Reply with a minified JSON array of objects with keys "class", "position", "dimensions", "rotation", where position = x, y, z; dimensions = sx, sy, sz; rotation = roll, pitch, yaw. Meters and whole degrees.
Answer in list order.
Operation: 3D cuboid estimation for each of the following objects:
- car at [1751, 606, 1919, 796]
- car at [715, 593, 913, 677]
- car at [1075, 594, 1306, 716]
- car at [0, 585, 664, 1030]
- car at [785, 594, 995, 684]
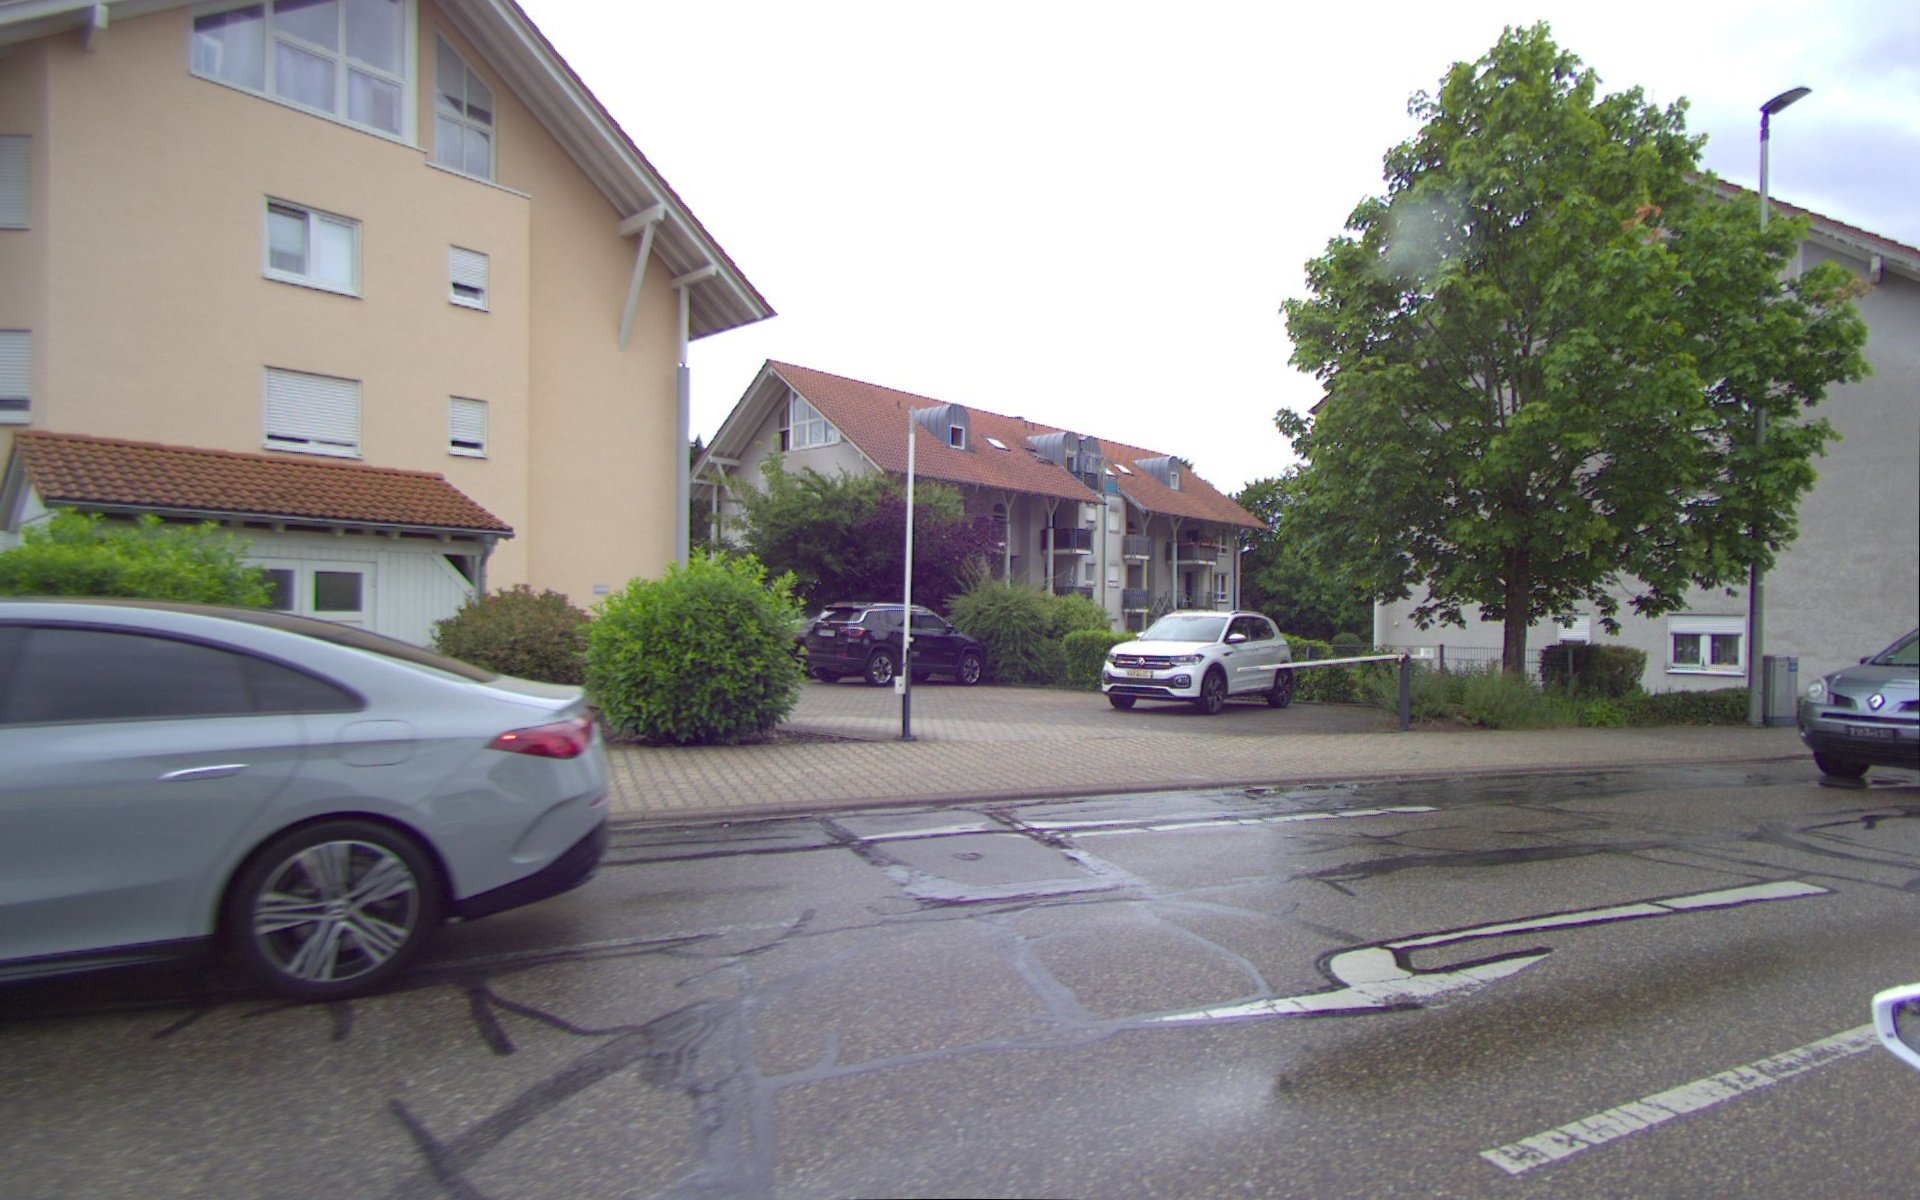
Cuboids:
[{"class":"car","position":[10.346,0.945,9.979],"dimensions":[4.199,1.679,1.900],"rotation":[1,-1,-18]},{"class":"car","position":[-3.234,0.826,22.706],"dimensions":[3.975,1.672,1.974],"rotation":[5,-2,-44]},{"class":"car","position":[3.827,0.878,16.245],"dimensions":[1.970,1.672,3.981],"rotation":[2,-2,41]},{"class":"car","position":[-3.608,0.667,3.971],"dimensions":[4.429,1.409,1.896],"rotation":[2,-1,-26]},{"class":"car","position":[-1.395,0.843,21.009],"dimensions":[3.973,1.672,1.974],"rotation":[5,-2,-44]}]
